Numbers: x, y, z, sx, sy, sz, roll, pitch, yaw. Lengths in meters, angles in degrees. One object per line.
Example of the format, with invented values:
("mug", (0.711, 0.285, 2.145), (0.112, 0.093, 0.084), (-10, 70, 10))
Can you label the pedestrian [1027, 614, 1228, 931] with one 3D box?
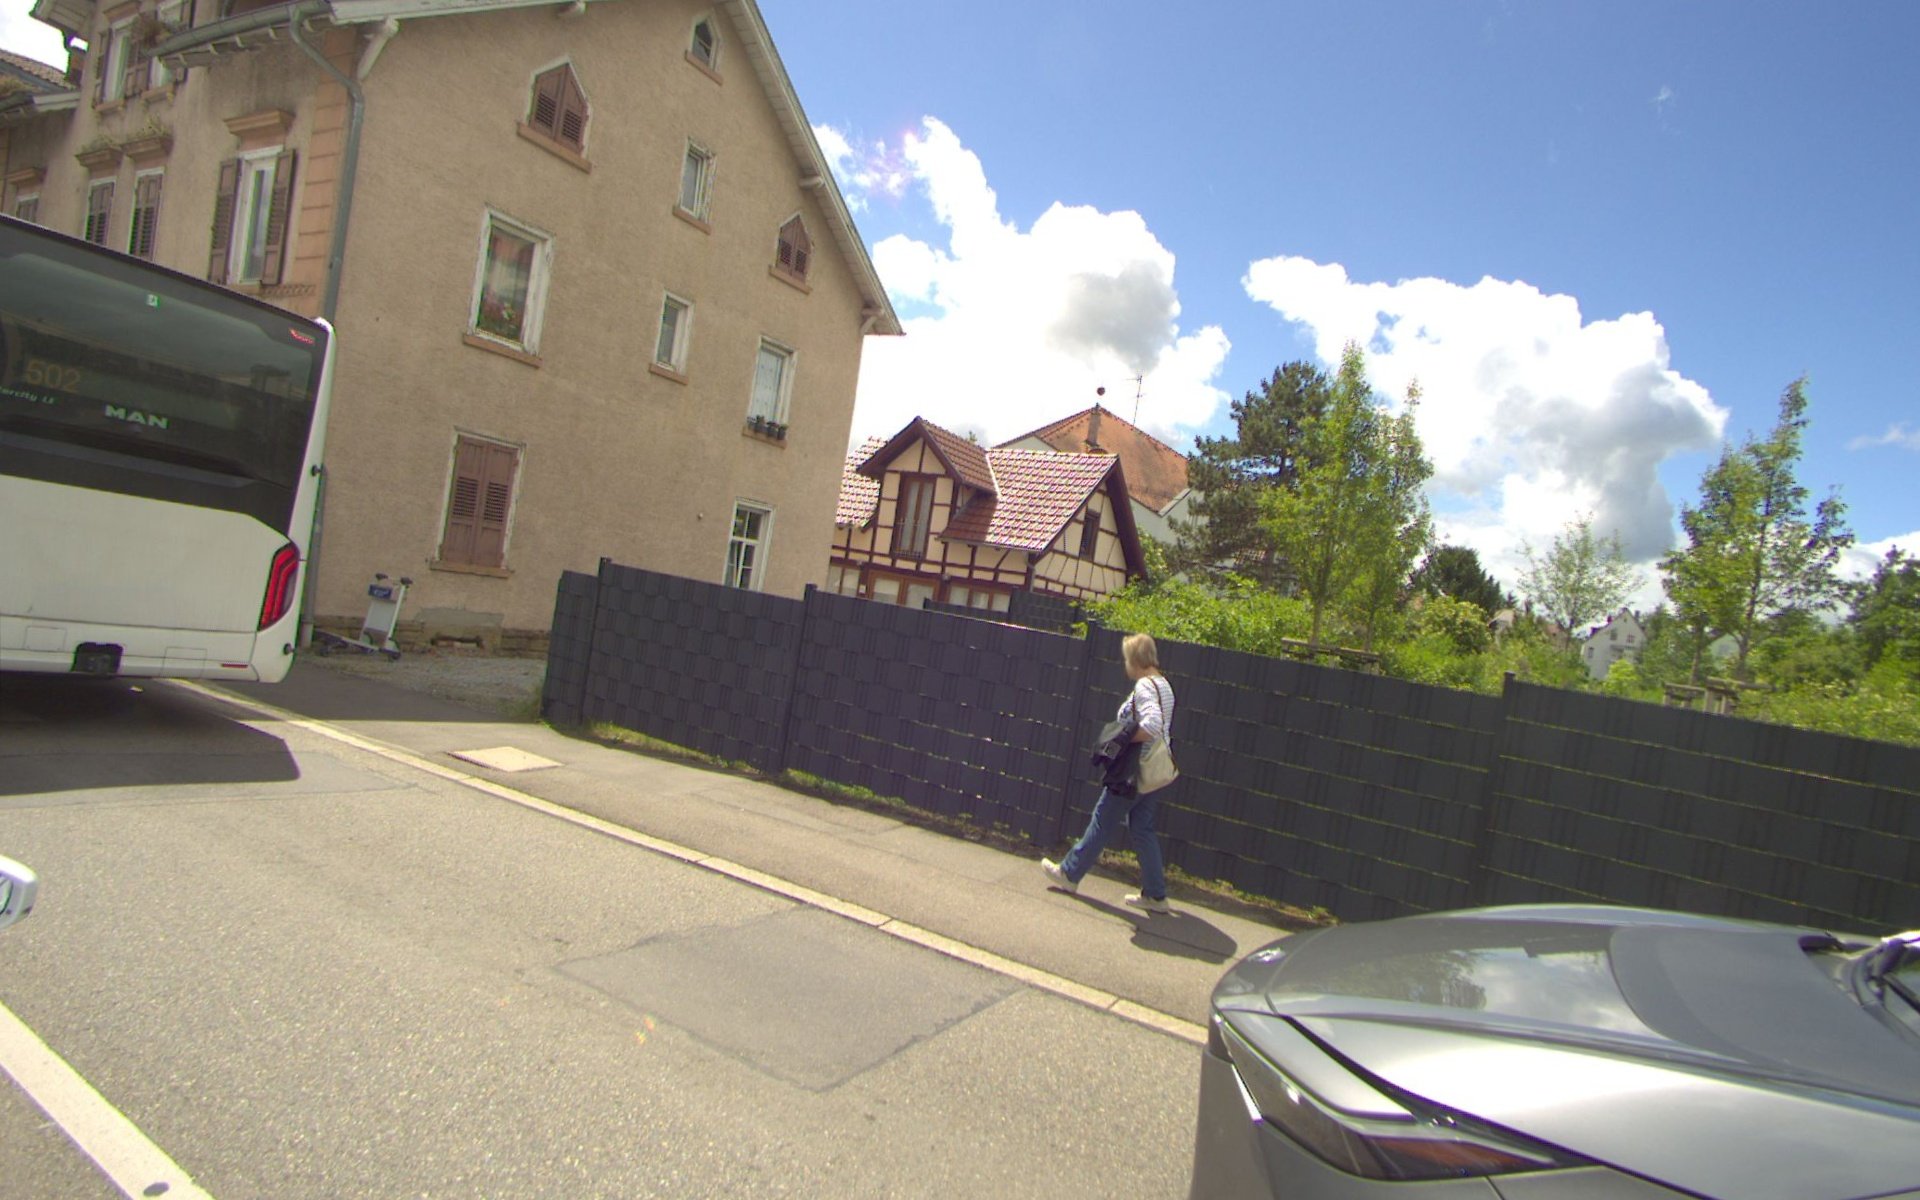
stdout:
("pedestrian", (0.976, 0.926, 5.763), (0.700, 1.581, 0.860), (7, 1, 31))

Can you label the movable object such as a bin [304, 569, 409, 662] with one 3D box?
("movable object such as a bin", (-7.442, 0.201, 12.421), (0.736, 1.025, 0.776), (7, 1, 32))

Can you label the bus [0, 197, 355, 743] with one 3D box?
("bus", (-10.556, -1.335, 9.635), (12.255, 3.195, 2.676), (7, 0, 32))

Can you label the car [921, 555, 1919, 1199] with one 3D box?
("car", (2.400, 1.092, 1.284), (4.605, 1.631, 1.924), (7, -2, 32))
